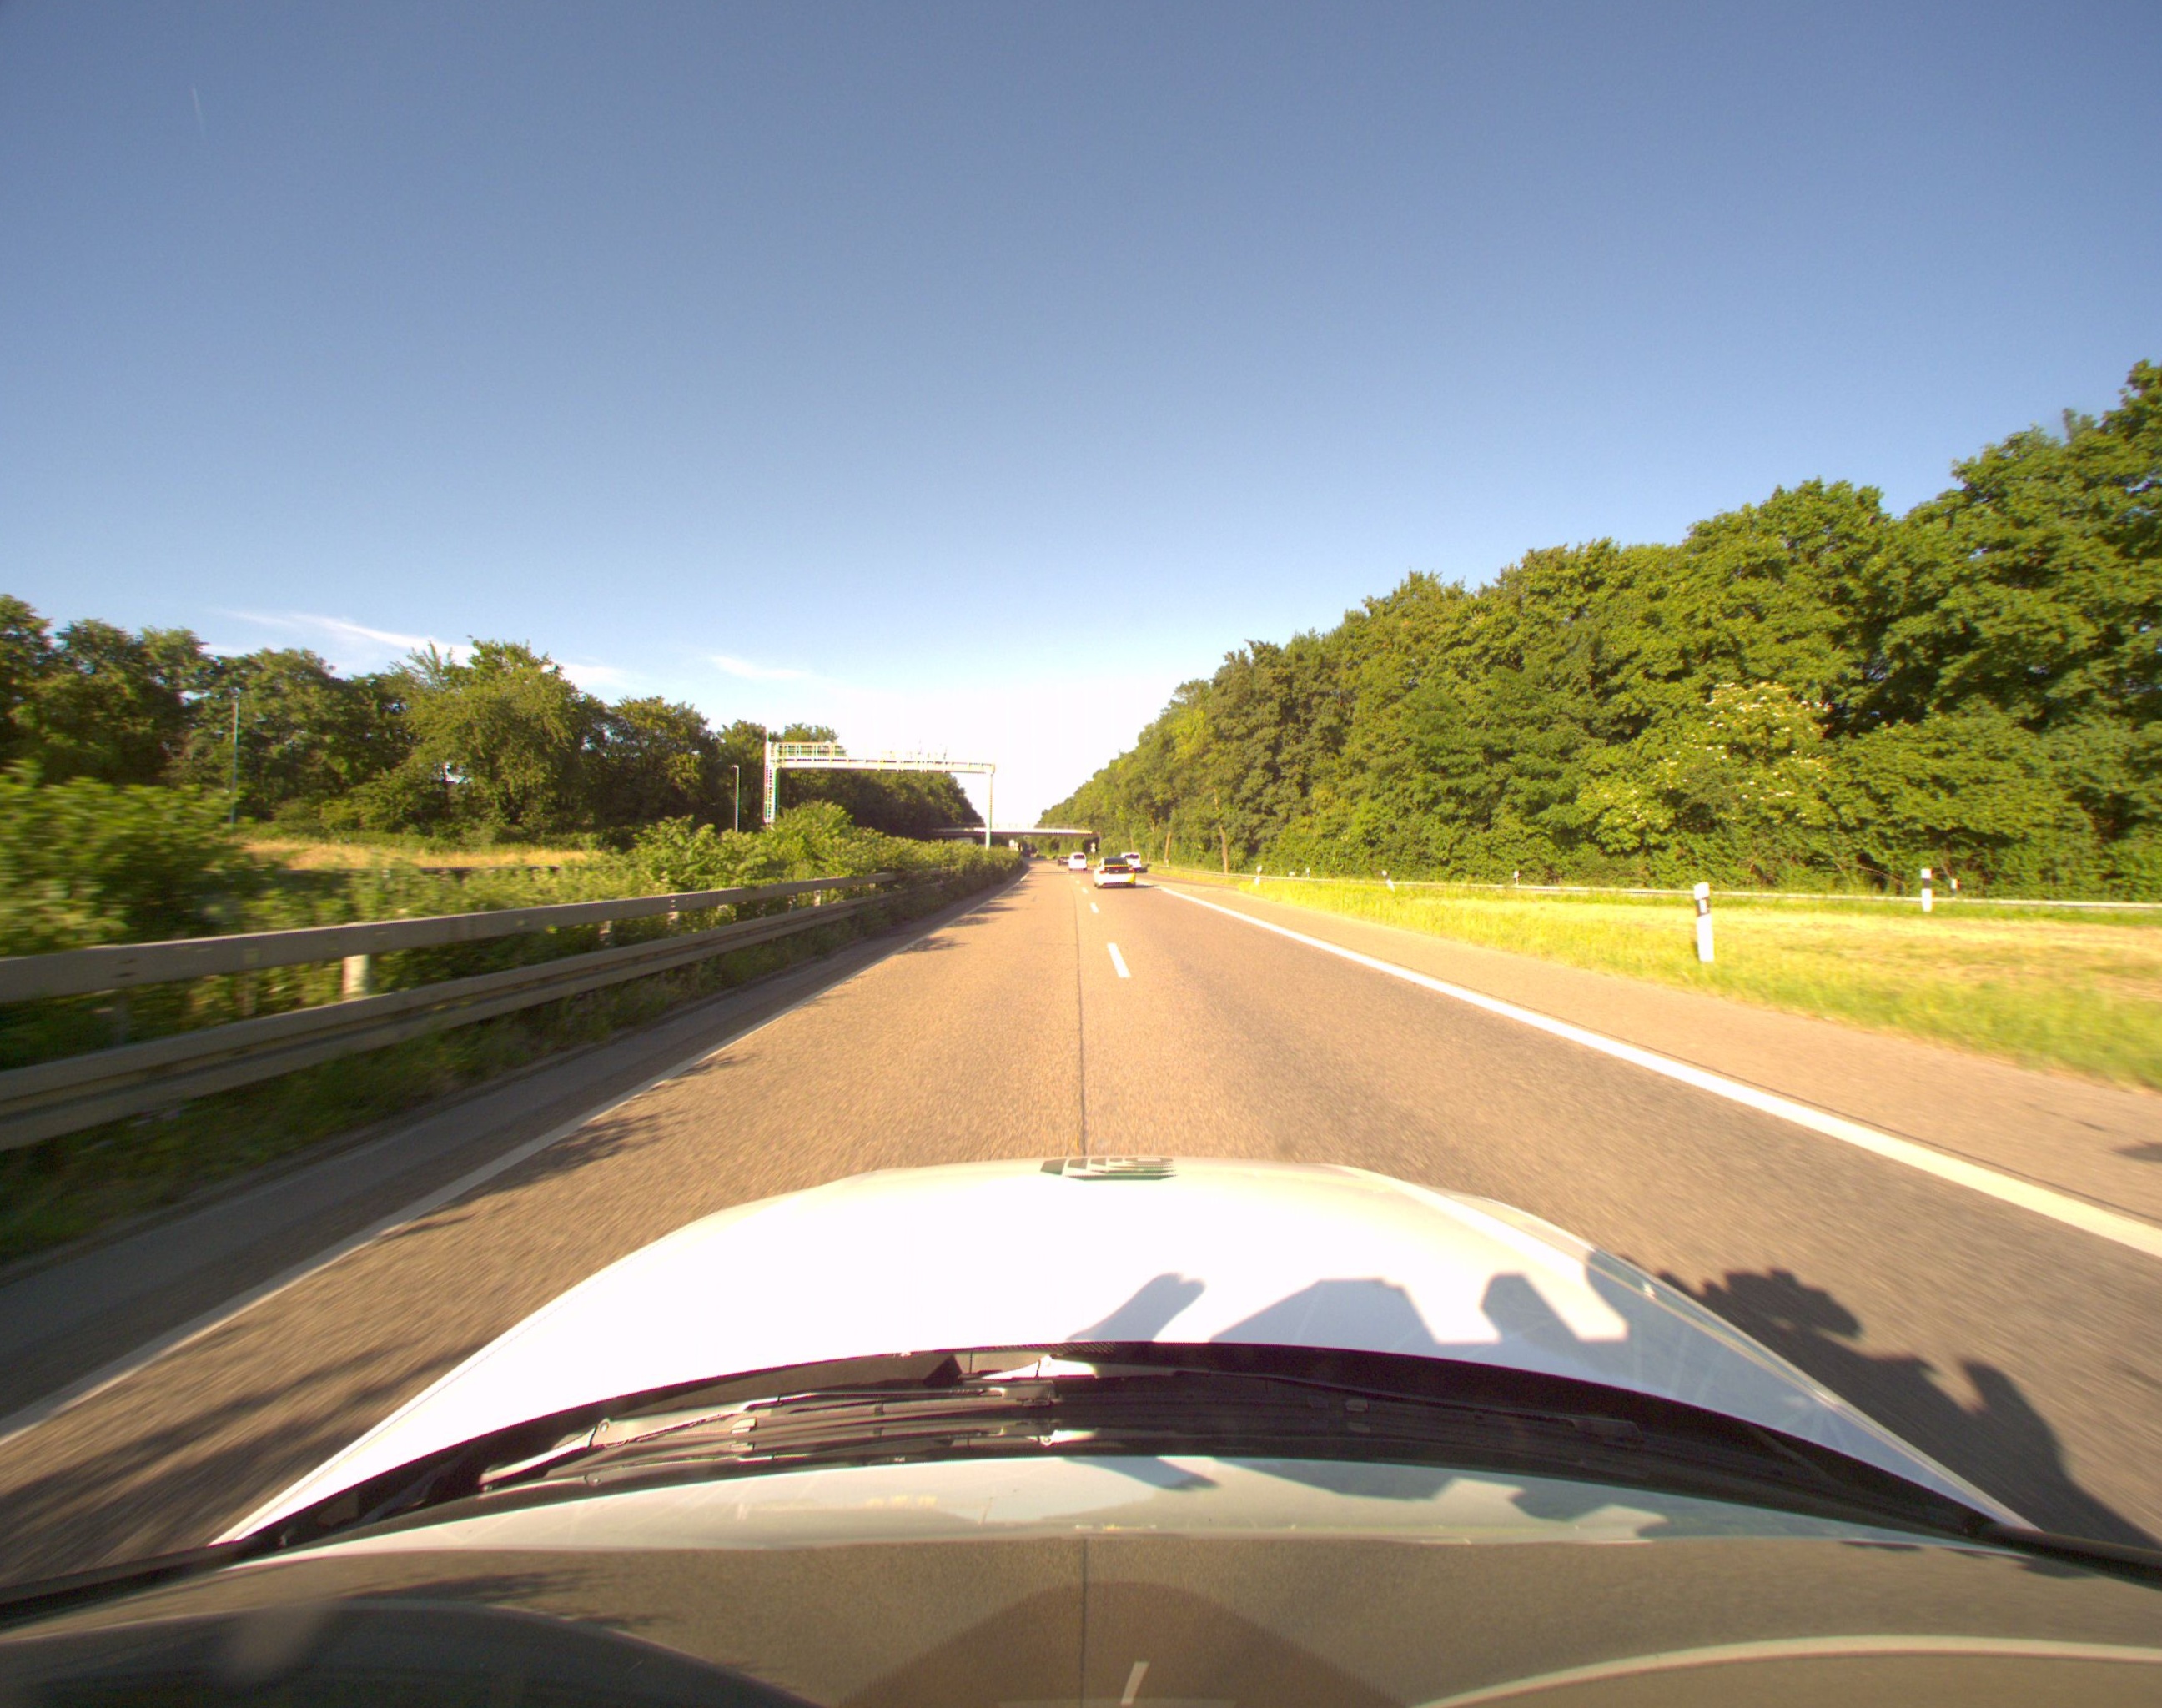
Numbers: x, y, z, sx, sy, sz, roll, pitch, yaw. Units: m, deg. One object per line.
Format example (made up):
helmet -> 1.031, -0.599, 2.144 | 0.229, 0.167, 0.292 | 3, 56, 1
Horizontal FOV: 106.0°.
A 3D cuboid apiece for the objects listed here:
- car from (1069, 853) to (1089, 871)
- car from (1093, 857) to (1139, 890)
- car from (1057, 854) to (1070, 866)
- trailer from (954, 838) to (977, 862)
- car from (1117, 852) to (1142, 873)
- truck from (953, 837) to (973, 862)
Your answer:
car -> -0.269, 0.794, 83.935 | 1.893, 1.767, 3.996 | -1, 0, -3
car -> 1.605, 0.872, 38.881 | 1.892, 1.471, 3.996 | -1, 0, -2
car -> -2.621, 0.939, 121.658 | 1.891, 1.767, 3.998 | -1, 0, -1
trailer -> -20.078, -0.636, 142.280 | 2.733, 4.027, 14.055 | 1, 0, -4
car -> 4.318, 0.748, 73.102 | 1.892, 1.824, 3.997 | -1, 0, -2
truck -> -19.649, -0.655, 136.009 | 2.733, 4.027, 6.171 | 1, 0, -4
